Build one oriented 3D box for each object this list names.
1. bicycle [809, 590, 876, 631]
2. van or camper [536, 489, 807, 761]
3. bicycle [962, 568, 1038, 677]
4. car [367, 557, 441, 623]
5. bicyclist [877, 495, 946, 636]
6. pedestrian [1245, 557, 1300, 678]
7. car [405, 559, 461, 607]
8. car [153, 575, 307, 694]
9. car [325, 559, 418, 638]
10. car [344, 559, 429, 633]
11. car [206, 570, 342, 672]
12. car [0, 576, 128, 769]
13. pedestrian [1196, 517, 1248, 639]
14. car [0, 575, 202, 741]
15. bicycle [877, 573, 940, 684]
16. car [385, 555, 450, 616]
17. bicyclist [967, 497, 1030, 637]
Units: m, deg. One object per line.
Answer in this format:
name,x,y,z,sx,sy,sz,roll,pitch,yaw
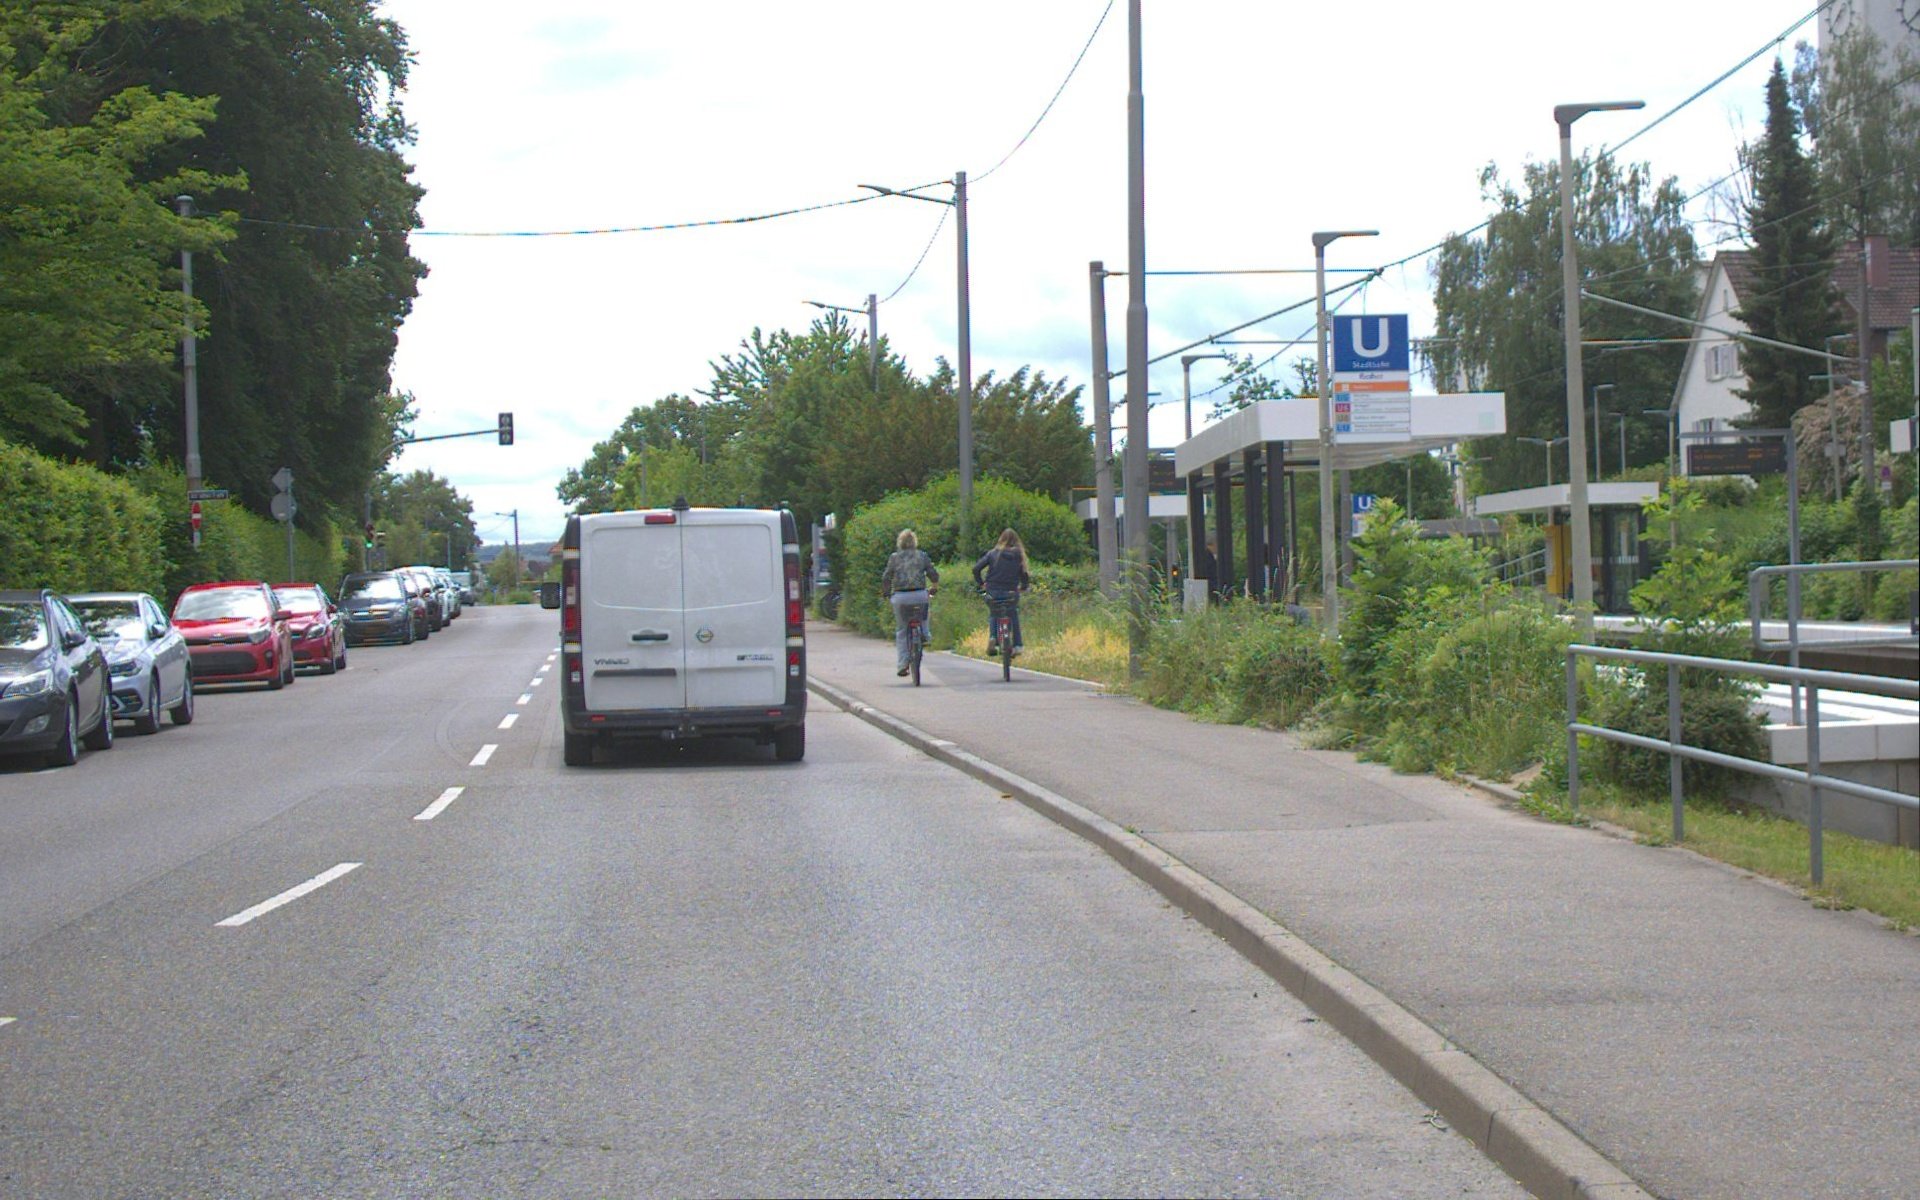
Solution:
bicycle,-3.067,0.270,89.524,1.698,1.027,0.491,-1,1,-7
van or camper,-2.344,0.177,27.672,1.993,2.007,4.446,0,0,-5
bicycle,0.467,0.254,41.164,0.618,1.242,2.396,-1,1,-6
car,-14.855,-0.285,92.030,1.761,1.651,3.816,-2,1,-7
bicyclist,-0.569,-0.404,39.982,0.717,1.606,0.758,-1,1,-6
pedestrian,3.489,0.189,38.422,0.396,1.339,0.486,0,1,40
car,-18.079,-0.603,118.041,1.761,1.551,3.816,-2,1,-7
car,-10.094,0.444,47.719,1.588,1.499,3.515,-3,1,-5
car,-12.957,-0.065,75.867,1.761,1.620,4.186,-2,1,-7
car,-13.643,-0.121,81.925,1.761,1.651,4.062,-2,1,-7
car,-10.852,0.299,54.599,1.761,1.466,4.186,-2,1,-7
car,-8.358,0.596,29.553,1.736,1.499,4.478,-3,1,-7
pedestrian,3.717,-0.314,48.707,0.638,1.719,0.654,0,1,13
car,-8.921,0.548,35.025,1.736,1.499,3.963,-3,1,-5
bicycle,-0.612,0.316,40.273,0.546,1.242,2.055,-1,1,-6
car,-16.470,-0.454,104.568,1.761,1.750,3.816,-2,1,-7
bicyclist,0.455,-0.395,41.032,0.639,1.644,0.819,-1,1,-6
